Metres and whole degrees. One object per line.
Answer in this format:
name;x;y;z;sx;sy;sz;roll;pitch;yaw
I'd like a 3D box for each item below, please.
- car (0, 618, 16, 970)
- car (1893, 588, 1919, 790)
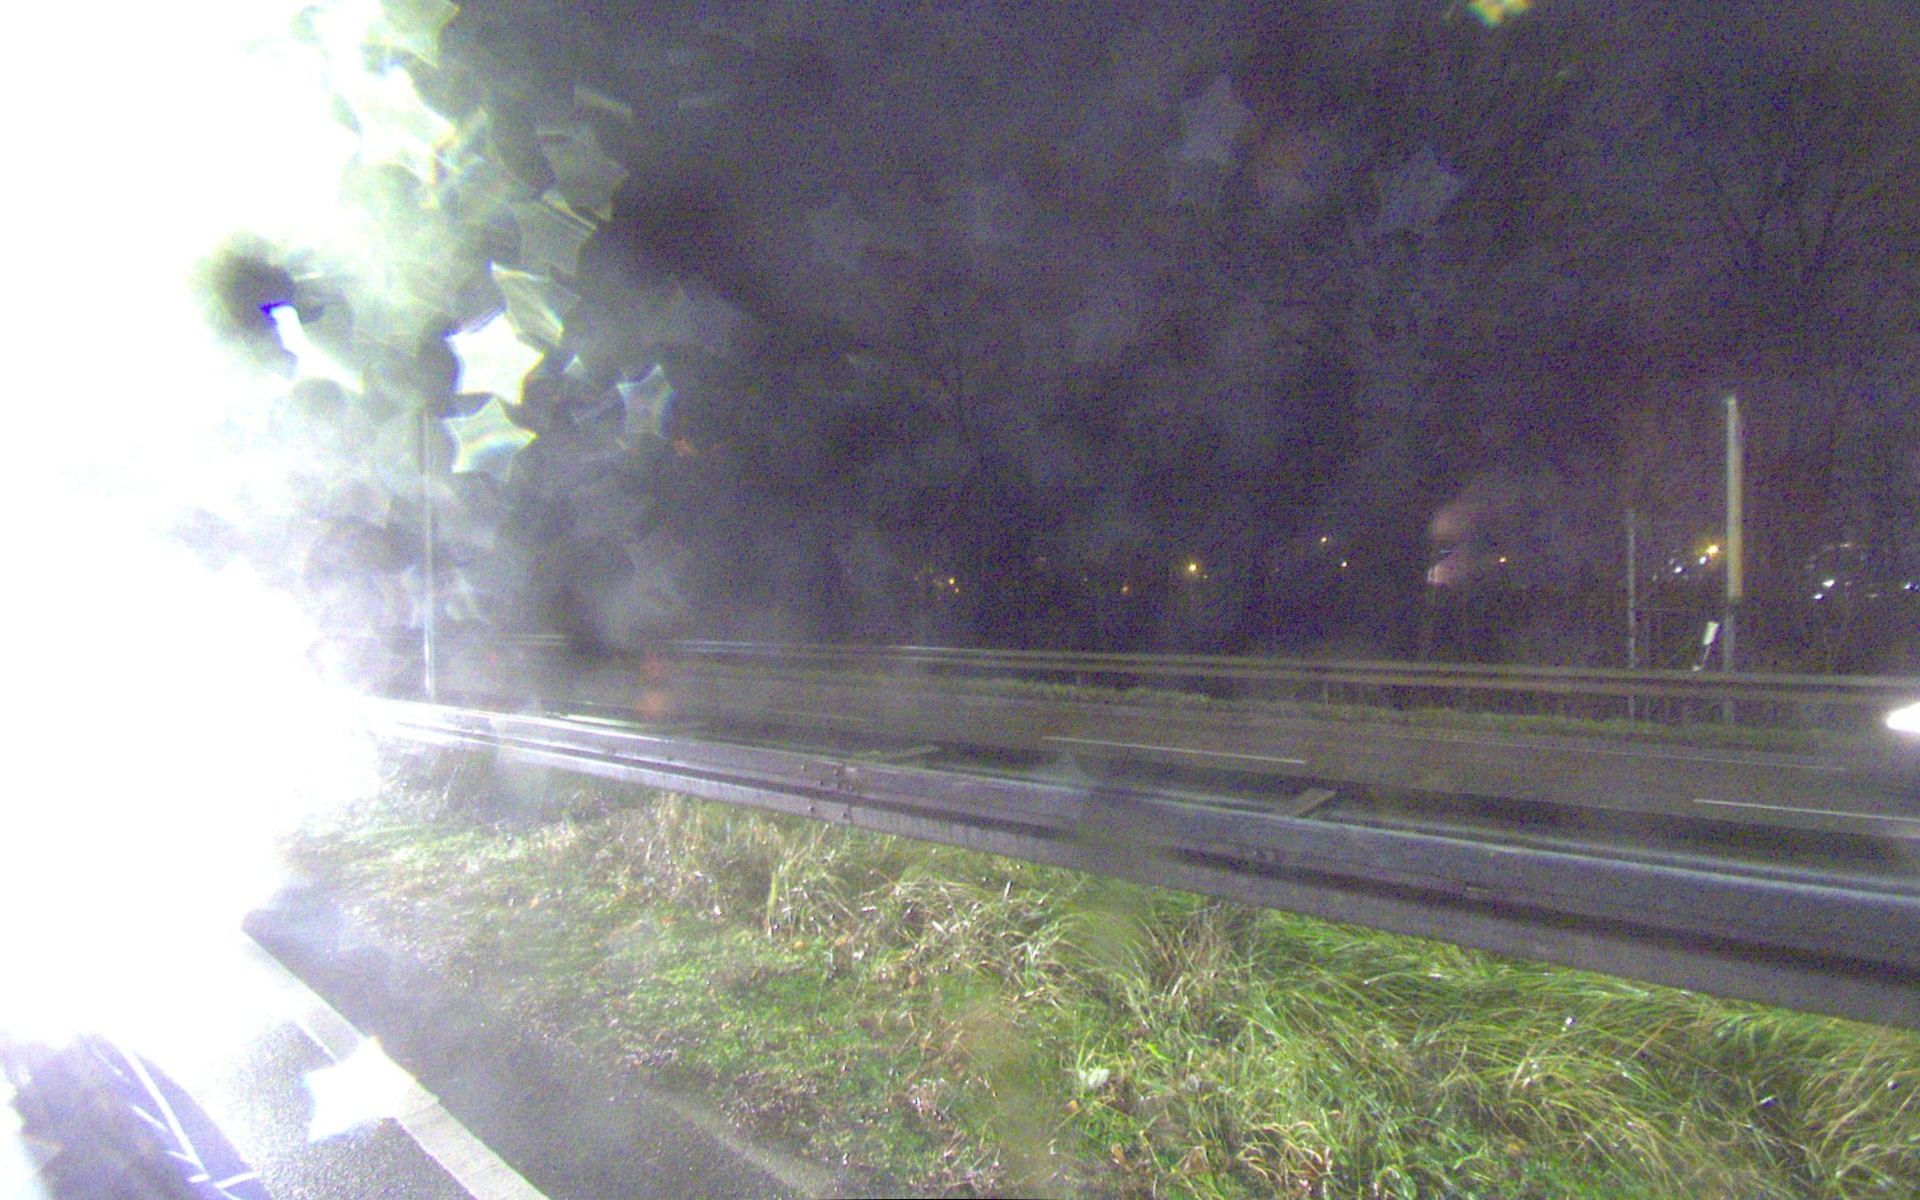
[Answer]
car;-5.648;0.833;4.711;3.388;1.435;1.478;-1;1;41
car;9.532;0.670;6.642;4.834;1.520;1.974;-1;-3;39
